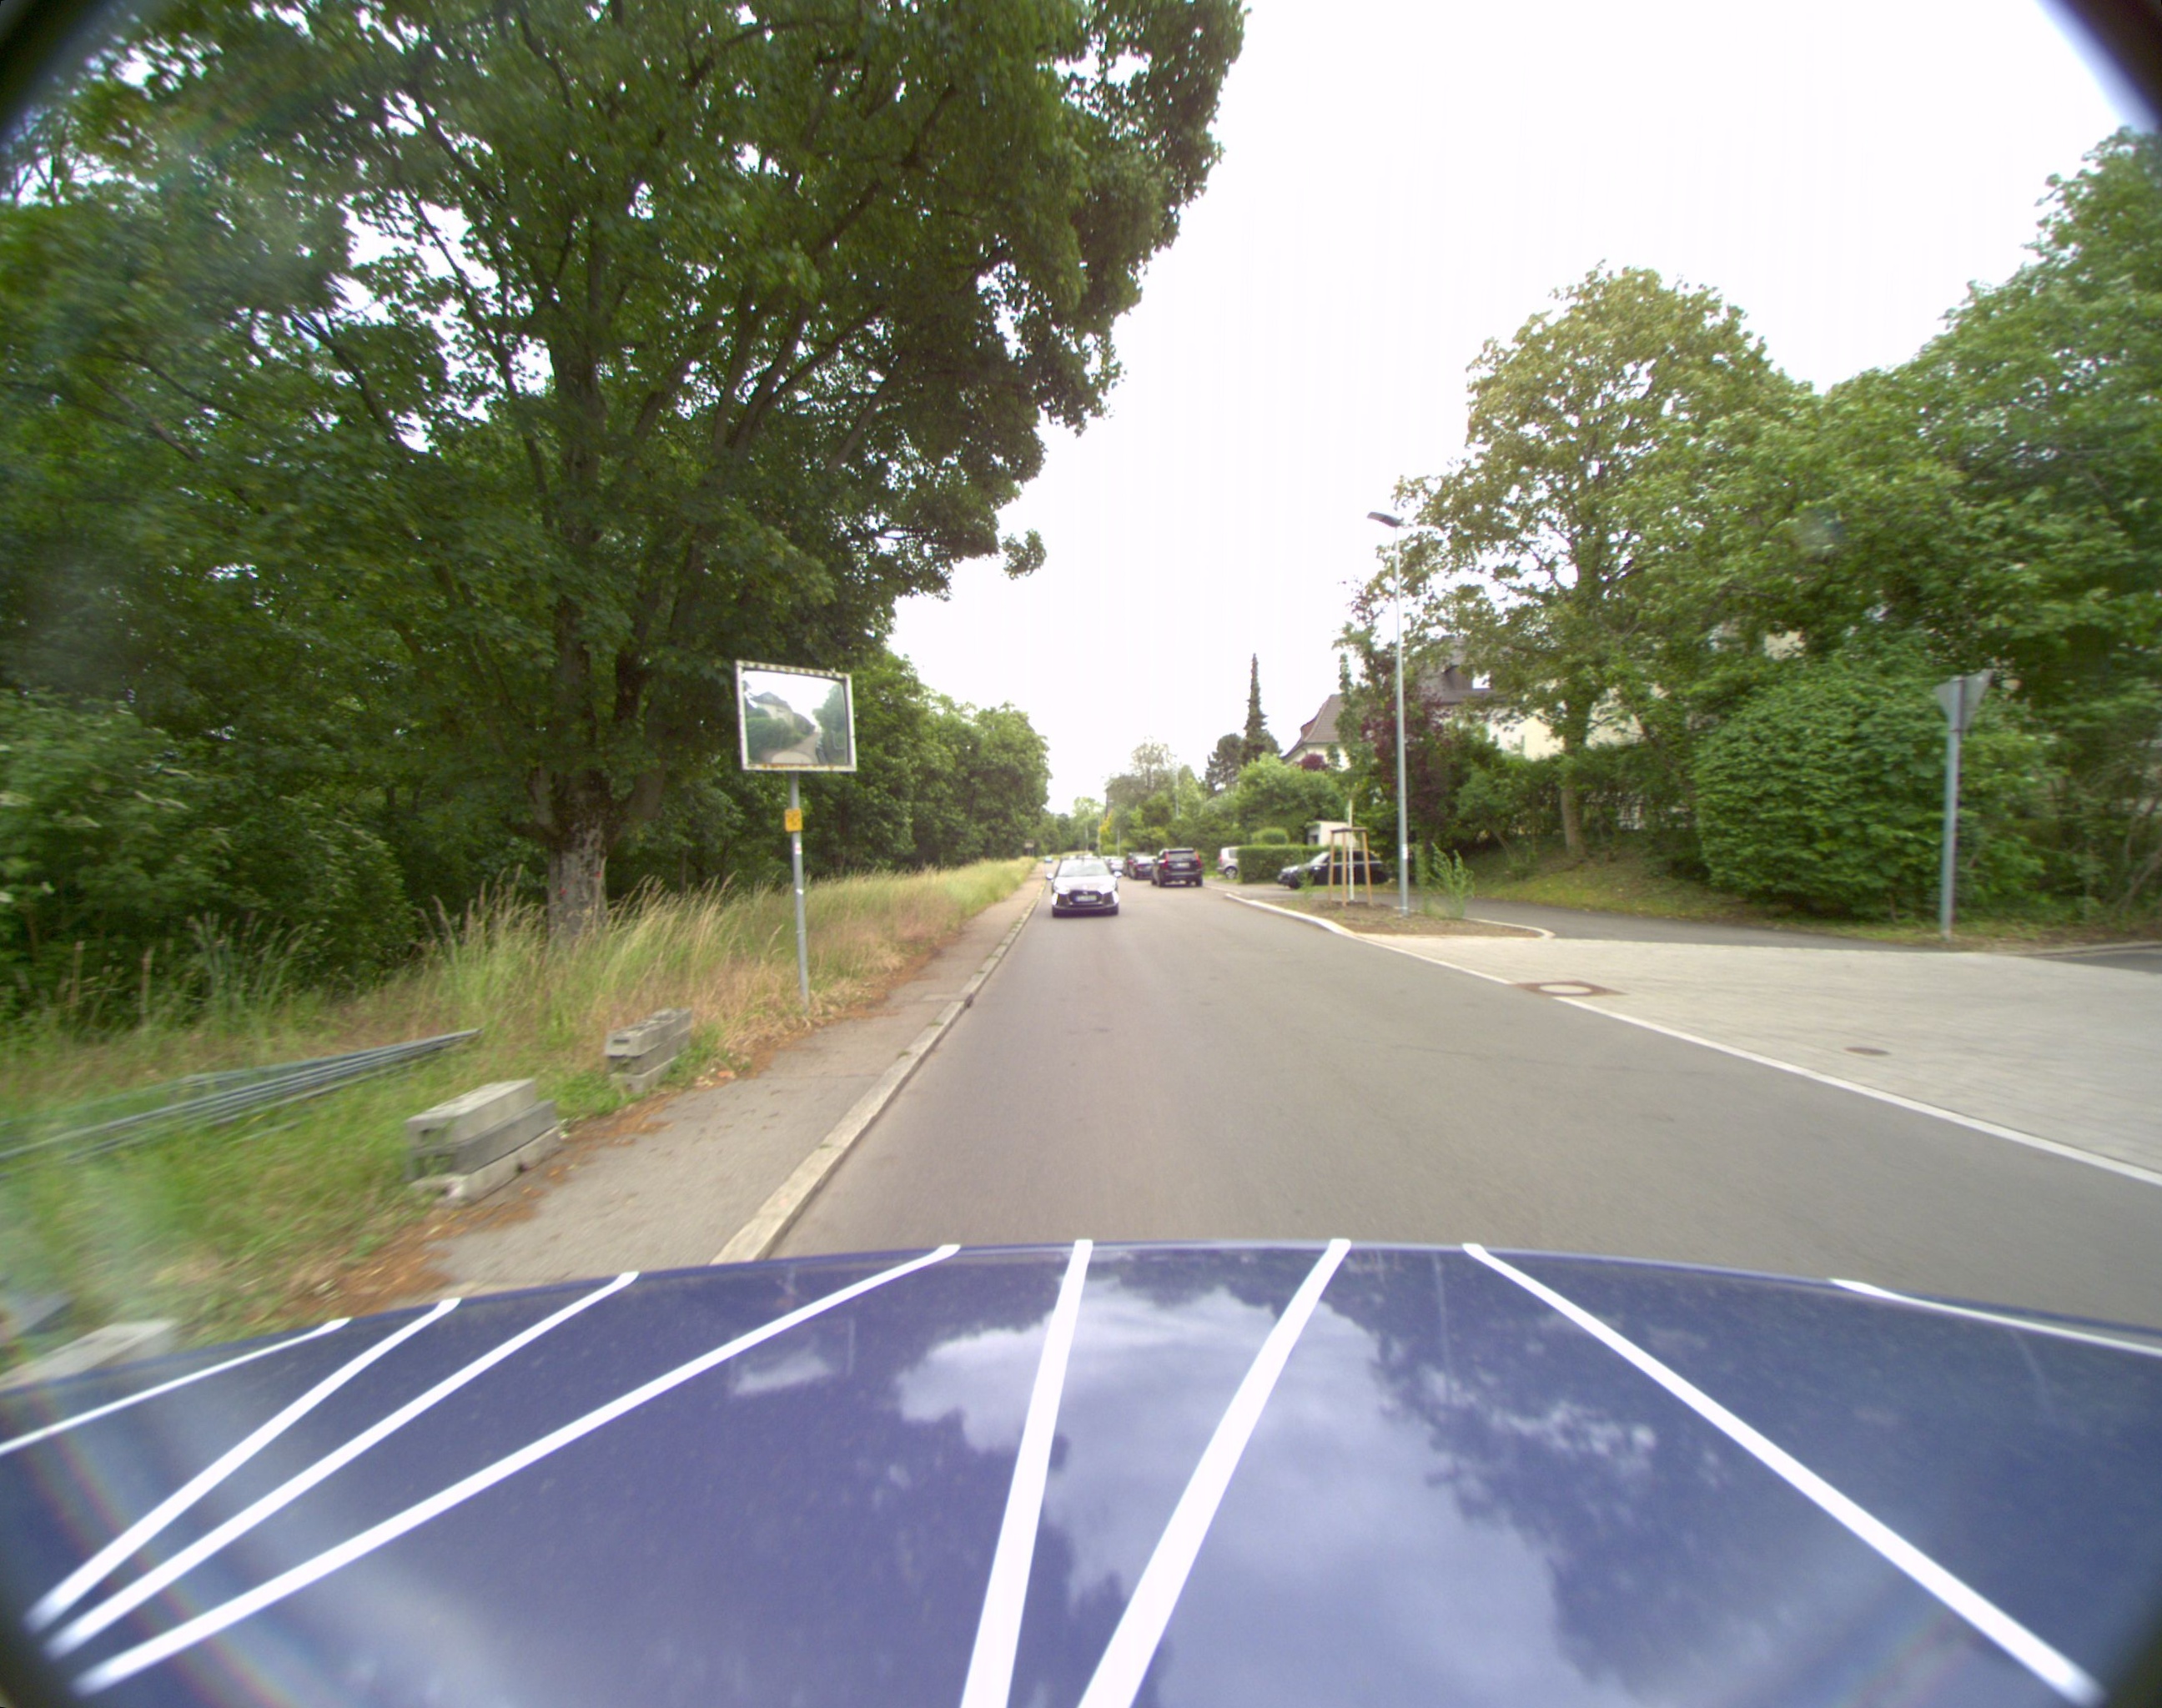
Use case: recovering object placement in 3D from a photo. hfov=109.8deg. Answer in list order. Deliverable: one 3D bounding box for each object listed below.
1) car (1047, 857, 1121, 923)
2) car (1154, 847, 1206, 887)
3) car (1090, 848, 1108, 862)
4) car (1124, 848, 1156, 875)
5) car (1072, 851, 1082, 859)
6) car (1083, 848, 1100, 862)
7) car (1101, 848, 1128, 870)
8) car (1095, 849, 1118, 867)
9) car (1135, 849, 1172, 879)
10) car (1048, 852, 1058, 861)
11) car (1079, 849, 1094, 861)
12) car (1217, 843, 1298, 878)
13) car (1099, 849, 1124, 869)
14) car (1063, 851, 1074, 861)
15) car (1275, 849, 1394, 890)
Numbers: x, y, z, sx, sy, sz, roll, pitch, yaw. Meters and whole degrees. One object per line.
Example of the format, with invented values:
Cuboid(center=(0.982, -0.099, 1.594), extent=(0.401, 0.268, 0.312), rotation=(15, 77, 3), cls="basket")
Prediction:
Cuboid(center=(0.115, 0.866, 20.343), extent=(1.711, 1.466, 4.195), rotation=(-3, 0, 1), cls="car")
Cuboid(center=(4.499, 0.562, 35.163), extent=(1.922, 1.670, 4.195), rotation=(-3, 0, 1), cls="car")
Cuboid(center=(2.211, 0.110, 94.450), extent=(1.922, 1.670, 4.194), rotation=(-3, 0, -2), cls="car")
Cuboid(center=(3.961, 0.457, 51.587), extent=(1.922, 1.670, 4.195), rotation=(-3, 0, 1), cls="car")
Cuboid(center=(-0.909, 0.165, 162.431), extent=(1.922, 1.670, 4.194), rotation=(-3, 0, -2), cls="car")
Cuboid(center=(1.373, 0.152, 100.201), extent=(1.922, 1.670, 4.194), rotation=(-3, 0, -2), cls="car")
Cuboid(center=(2.805, 0.422, 63.845), extent=(1.922, 1.670, 4.194), rotation=(-3, 0, -2), cls="car")
Cuboid(center=(2.478, 0.408, 74.868), extent=(1.922, 1.670, 4.194), rotation=(-3, 0, -2), cls="car")
Cuboid(center=(4.320, 0.558, 45.821), extent=(1.922, 1.670, 4.195), rotation=(-3, 0, 1), cls="car")
Cuboid(center=(-5.686, 0.456, 154.802), extent=(1.923, 1.670, 4.193), rotation=(-3, 0, -4), cls="car")
Cuboid(center=(0.796, 0.178, 110.448), extent=(1.922, 1.670, 4.194), rotation=(-3, 0, -2), cls="car")
Cuboid(center=(8.892, 0.313, 38.434), extent=(3.772, 1.581, 1.641), rotation=(-3, 1, 7), cls="car")
Cuboid(center=(2.770, 0.432, 69.746), extent=(1.922, 1.670, 4.194), rotation=(-3, 0, -2), cls="car")
Cuboid(center=(-2.286, 0.348, 136.580), extent=(1.922, 1.670, 4.194), rotation=(-3, 0, -2), cls="car")
Cuboid(center=(9.212, 0.560, 27.846), extent=(3.774, 1.306, 1.641), rotation=(-3, 0, 2), cls="car")
